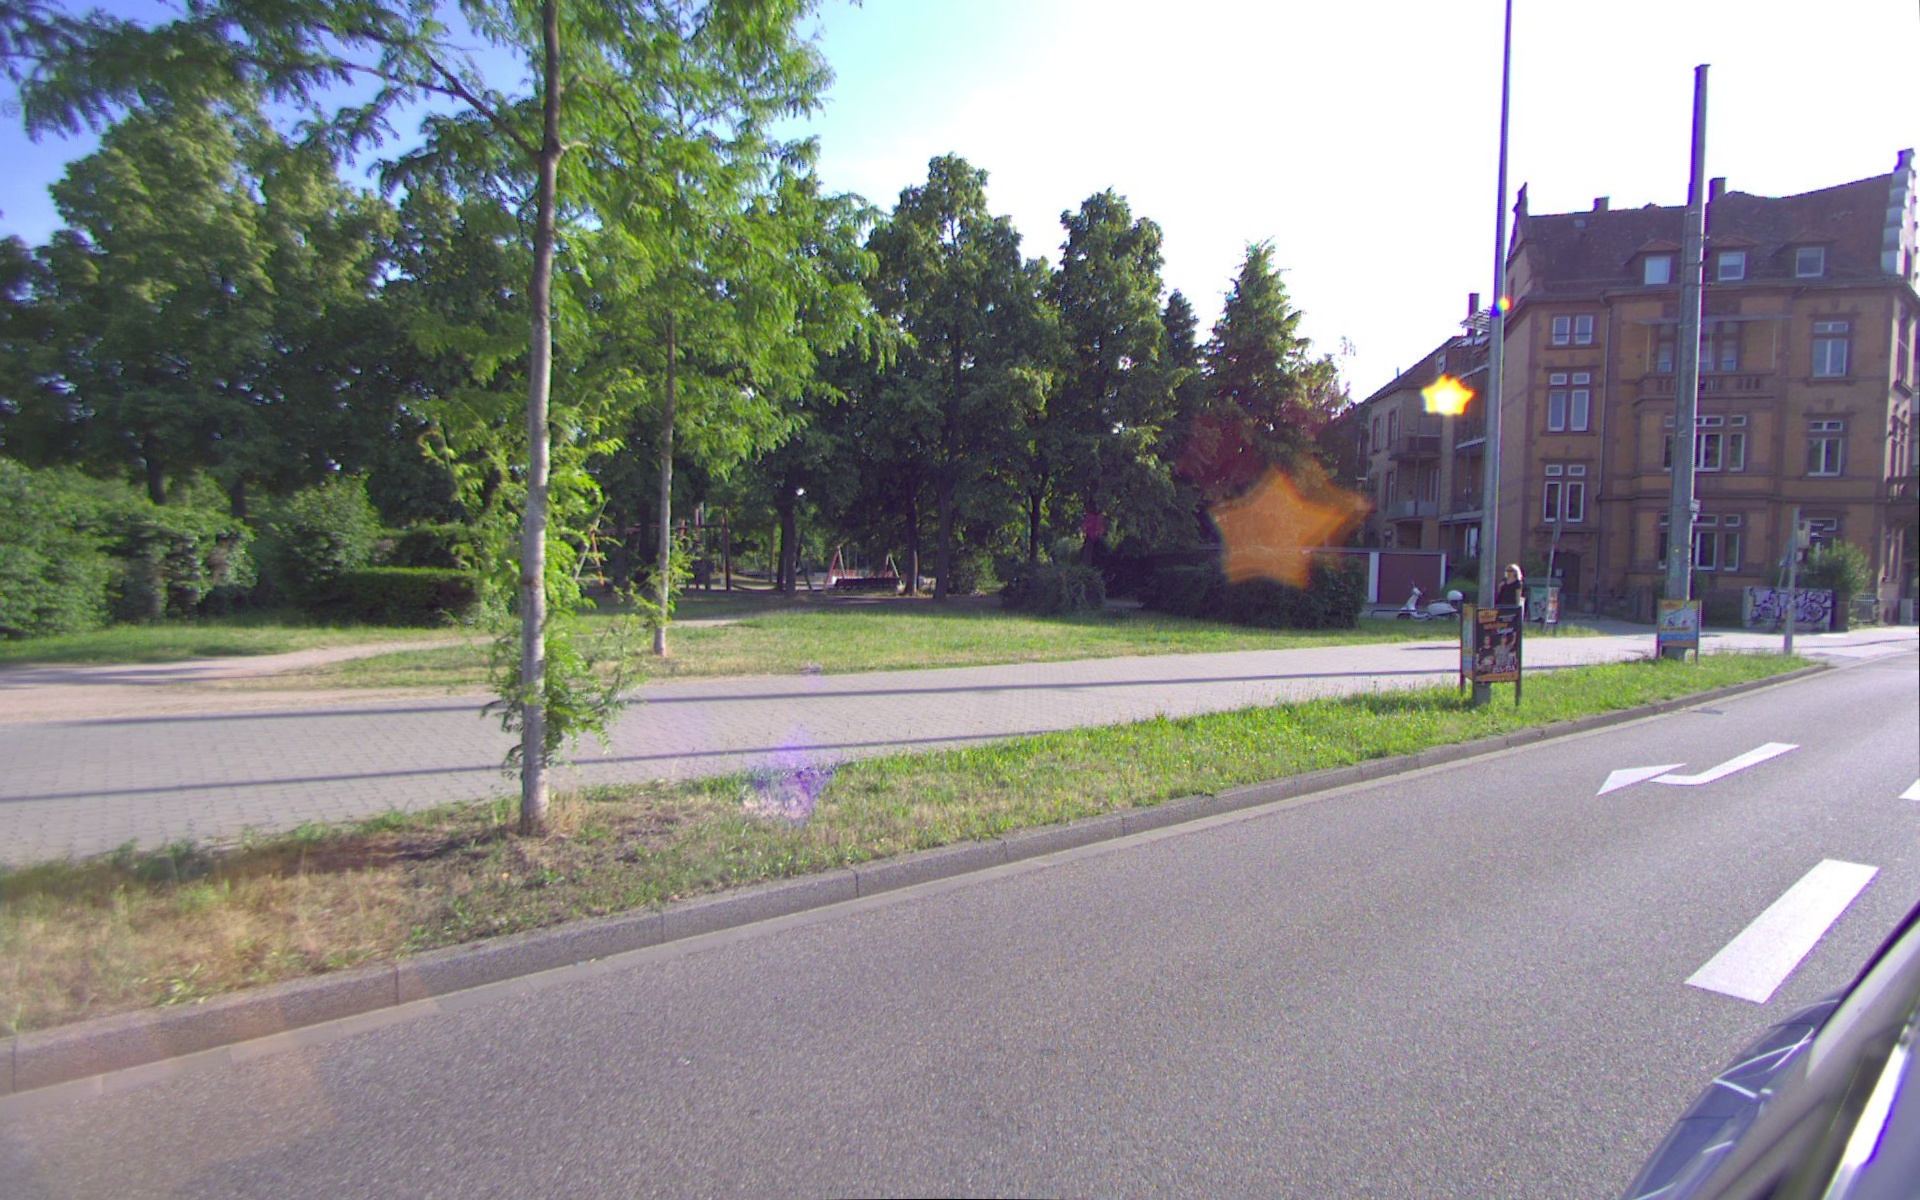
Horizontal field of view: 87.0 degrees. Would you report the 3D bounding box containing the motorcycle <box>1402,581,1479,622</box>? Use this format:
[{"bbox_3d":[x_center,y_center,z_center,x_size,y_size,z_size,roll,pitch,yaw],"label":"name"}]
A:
[{"bbox_3d":[14.600,0.027,30.787,0.696,1.174,1.997,0,1,-45],"label":"motorcycle"}]

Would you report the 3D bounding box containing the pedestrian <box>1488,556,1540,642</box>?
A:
[{"bbox_3d":[11.589,-0.024,21.176,0.538,1.711,0.618,1,6,-36],"label":"pedestrian"}]
